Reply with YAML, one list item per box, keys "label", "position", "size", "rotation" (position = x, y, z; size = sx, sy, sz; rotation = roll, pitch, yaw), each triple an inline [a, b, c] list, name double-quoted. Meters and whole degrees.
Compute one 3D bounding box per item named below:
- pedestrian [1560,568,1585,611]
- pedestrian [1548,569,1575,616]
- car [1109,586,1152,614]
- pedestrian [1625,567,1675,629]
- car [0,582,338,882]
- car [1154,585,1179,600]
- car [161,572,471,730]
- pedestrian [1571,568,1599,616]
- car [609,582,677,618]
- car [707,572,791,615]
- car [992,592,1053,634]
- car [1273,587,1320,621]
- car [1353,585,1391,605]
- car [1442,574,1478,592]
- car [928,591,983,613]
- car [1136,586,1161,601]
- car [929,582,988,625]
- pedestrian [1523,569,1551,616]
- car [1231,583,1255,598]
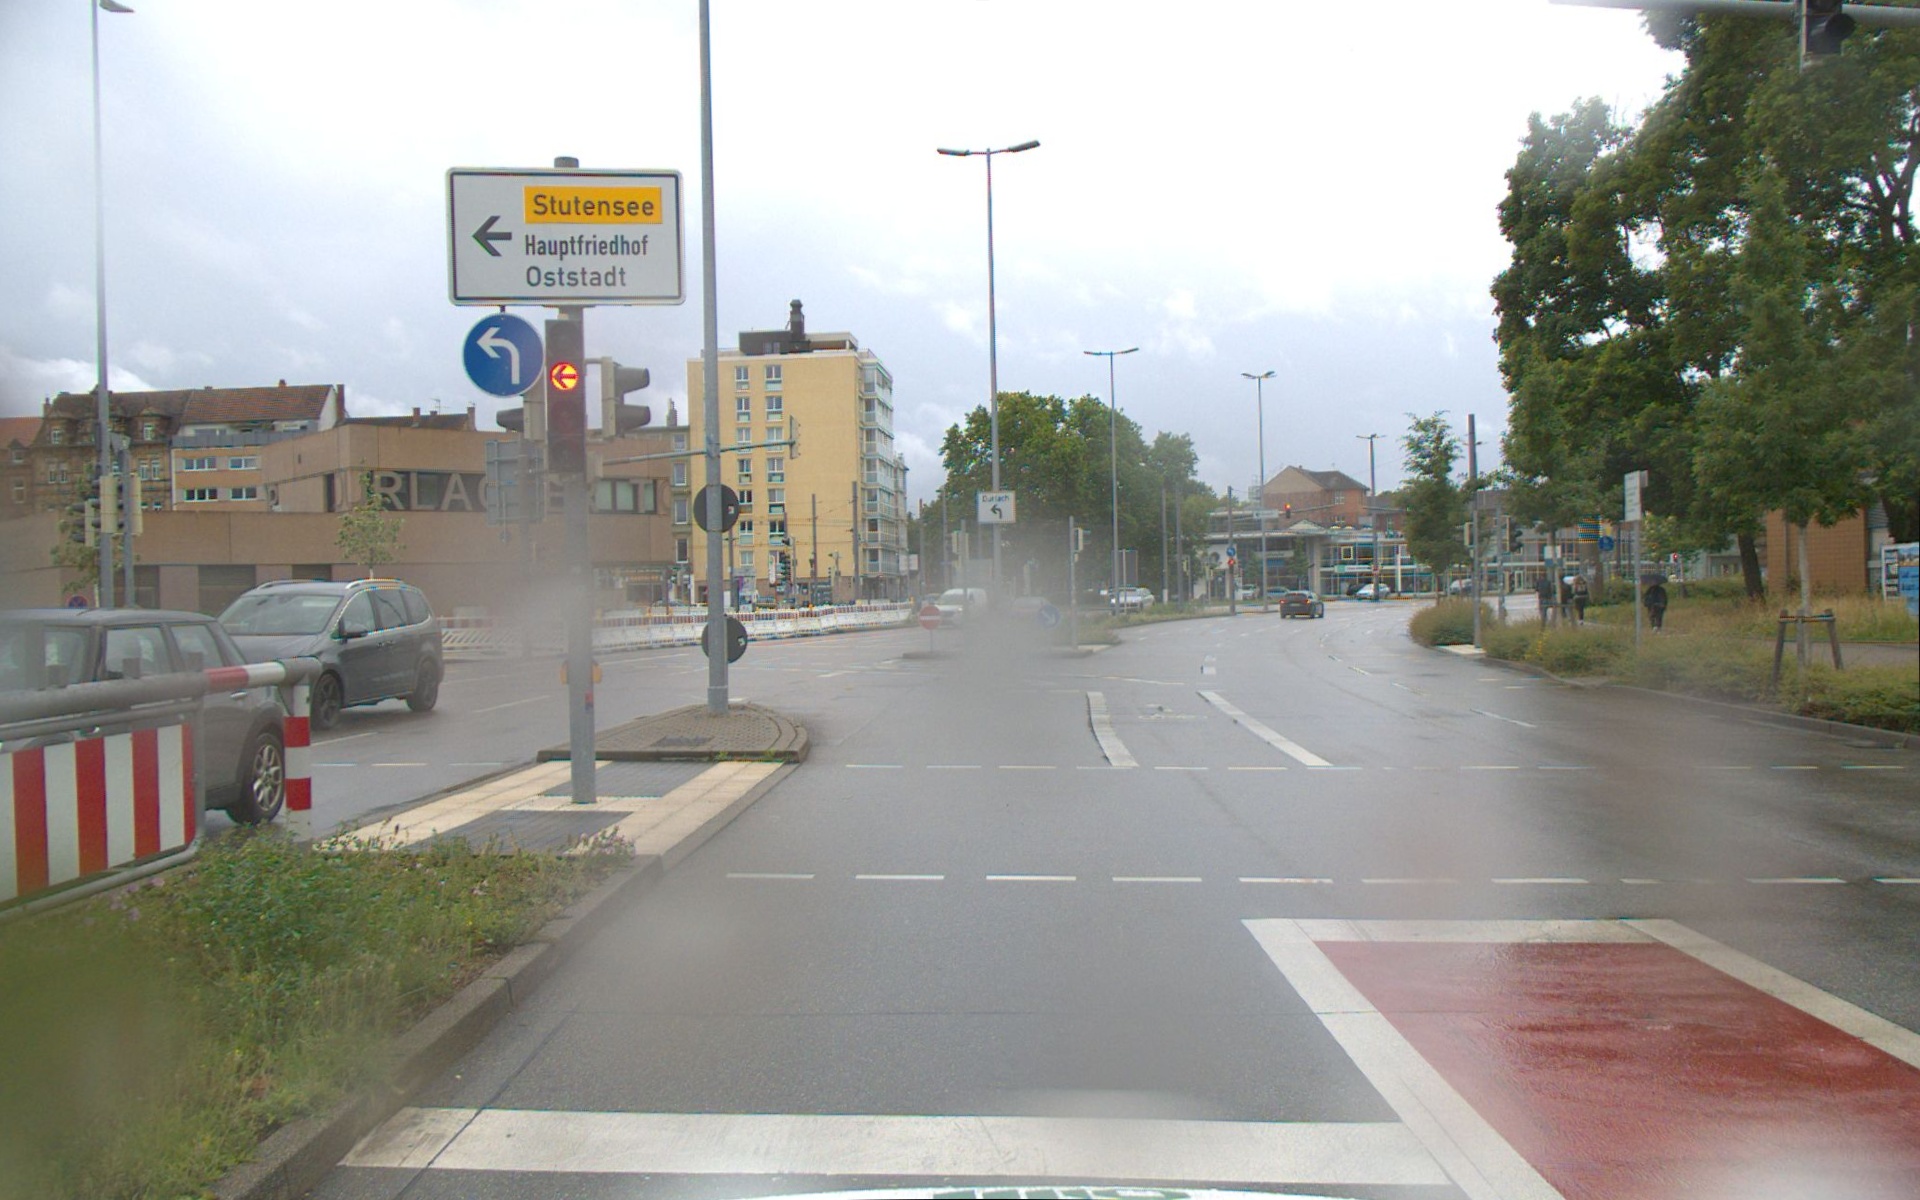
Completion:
- label: "pedestrian"
  position: [23.074, -0.396, 62.339]
  size: [0.688, 1.615, 0.937]
  rotation: [-1, 0, 9]
- label: "pedestrian"
  position: [20.827, -0.269, 57.243]
  size: [0.688, 1.615, 0.937]
  rotation: [-1, 0, 9]
- label: "car"
  position: [10.914, 0.000, 105.659]
  size: [1.753, 1.672, 4.160]
  rotation: [-1, 0, 21]
- label: "pedestrian"
  position: [18.319, -0.062, 43.934]
  size: [1.000, 1.615, 0.937]
  rotation: [-1, 0, 9]
- label: "car"
  position: [-5.504, 0.677, 10.030]
  size: [1.735, 1.400, 4.122]
  rotation: [-4, 1, 1]
- label: "car"
  position: [23.808, -0.842, 190.354]
  size: [1.753, 1.672, 4.159]
  rotation: [-1, 0, 23]
- label: "car"
  position: [-7.861, 0.549, 20.750]
  size: [1.735, 1.708, 4.771]
  rotation: [-2, 0, 3]
- label: "pedestrian"
  position: [21.491, -0.286, 56.900]
  size: [0.688, 1.615, 0.937]
  rotation: [-1, 0, 9]
- label: "car"
  position: [-27.172, 0.003, 141.696]
  size: [5.239, 2.937, 2.340]
  rotation: [-2, 0, 2]
- label: "car"
  position: [-17.990, -0.551, 141.202]
  size: [6.601, 3.439, 2.810]
  rotation: [-2, 0, 2]
- label: "car"
  position: [2.736, 0.542, 71.233]
  size: [1.752, 1.672, 4.049]
  rotation: [-1, 0, 15]
- label: "car"
  position: [17.739, 0.190, 87.096]
  size: [1.753, 1.672, 4.160]
  rotation: [-1, 0, 21]
- label: "car"
  position: [38.167, -0.465, 153.075]
  size: [1.763, 1.672, 4.136]
  rotation: [-1, 0, 41]
- label: "car"
  position: [49.312, -1.719, 163.218]
  size: [1.765, 1.672, 4.133]
  rotation: [-1, 0, 43]
- label: "car"
  position: [-0.347, 0.161, 132.413]
  size: [4.293, 1.672, 1.796]
  rotation: [-1, 0, -1]
- label: "car"
  position: [21.771, -0.793, 191.149]
  size: [1.753, 1.672, 4.159]
  rotation: [-1, 0, 23]
- label: "car"
  position: [-0.040, 0.135, 77.074]
  size: [1.752, 1.890, 4.163]
  rotation: [-1, 0, 15]
- label: "pedestrian"
  position: [20.123, -0.251, 57.717]
  size: [0.737, 1.615, 0.937]
  rotation: [-1, 0, 9]
- label: "car"
  position: [31.969, -1.060, 187.001]
  size: [1.753, 1.672, 4.159]
  rotation: [-1, 0, 23]
